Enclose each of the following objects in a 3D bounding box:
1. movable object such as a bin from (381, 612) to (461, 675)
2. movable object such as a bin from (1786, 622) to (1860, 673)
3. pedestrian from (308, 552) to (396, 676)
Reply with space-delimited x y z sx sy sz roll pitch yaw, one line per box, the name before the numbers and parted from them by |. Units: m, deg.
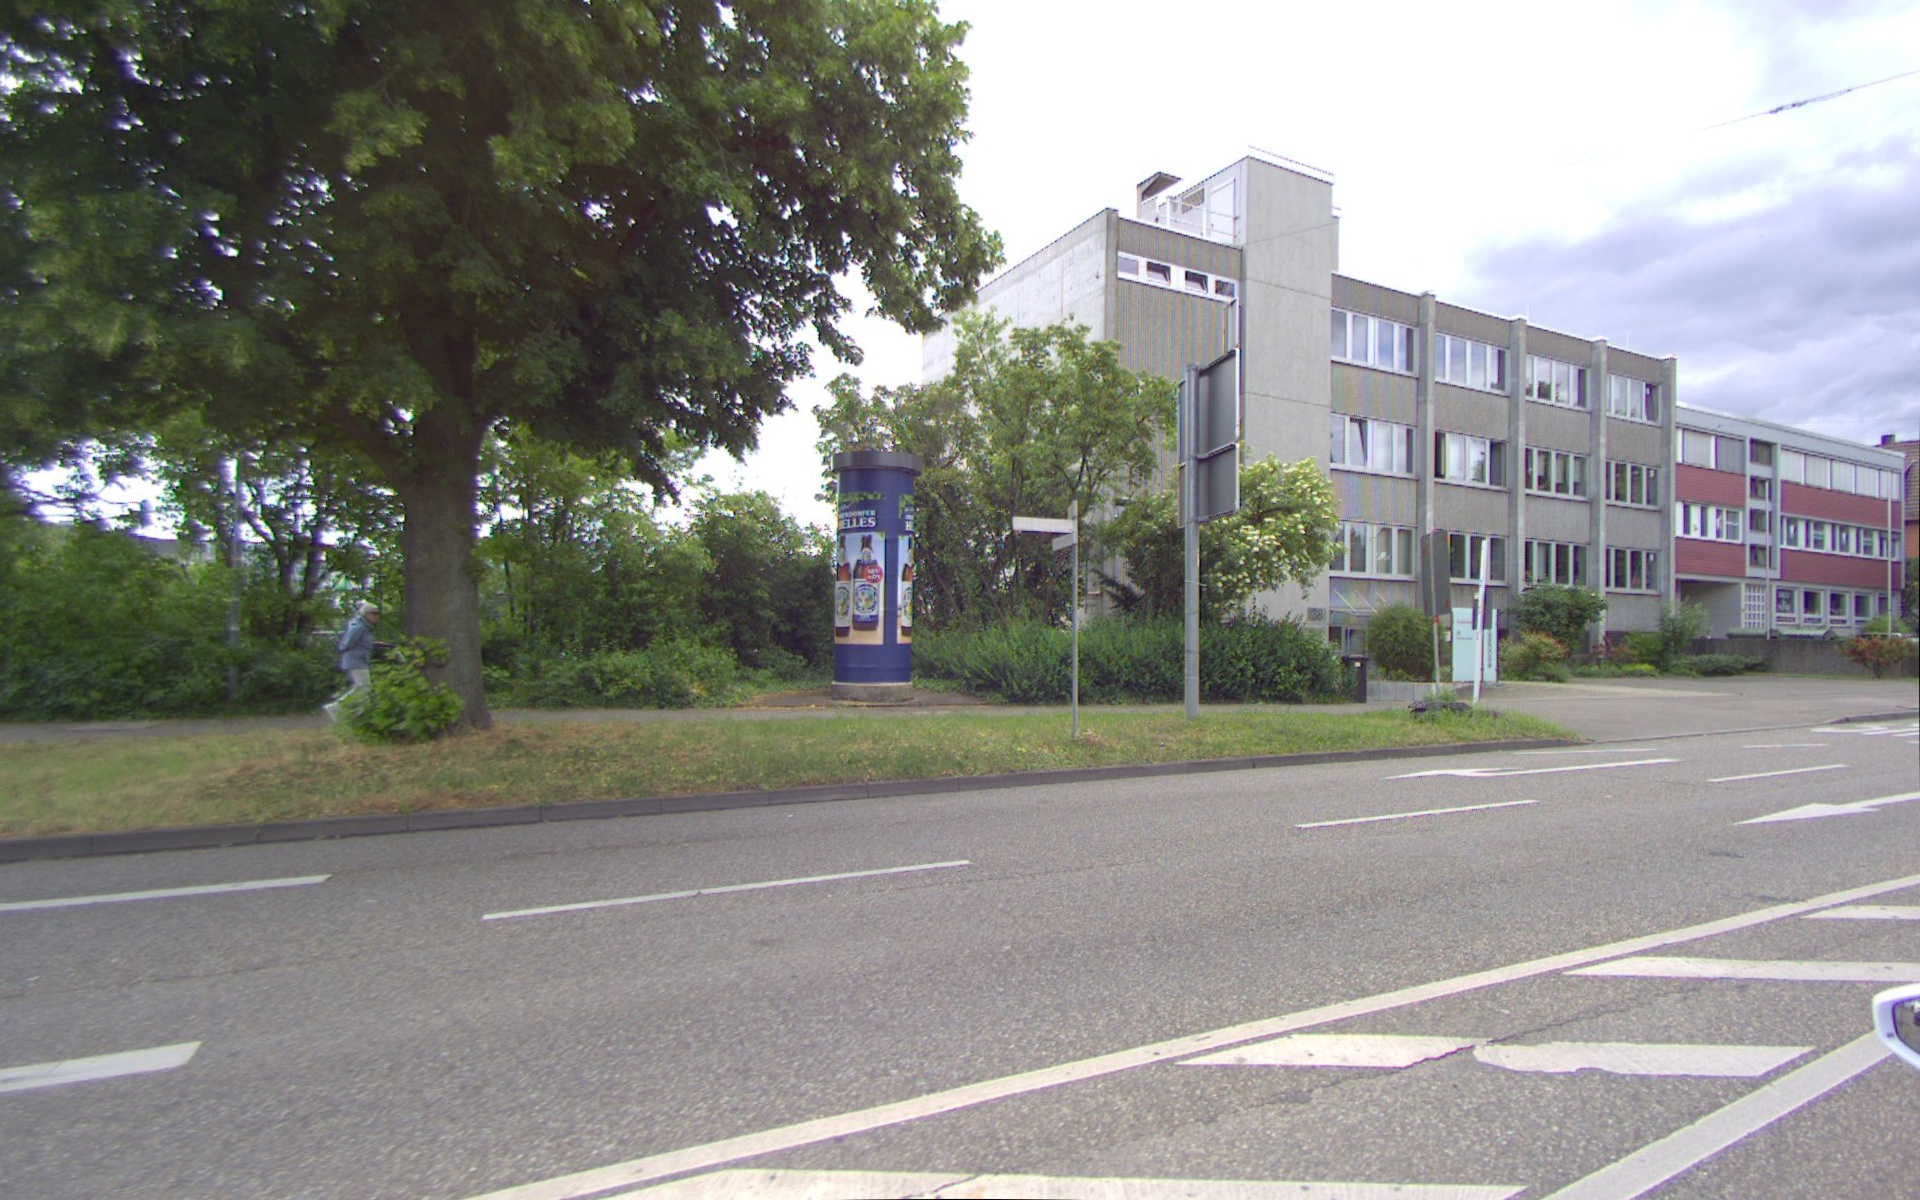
movable object such as a bin | -7.176 0.570 13.363 0.887 0.808 0.652 2 -1 -32
movable object such as a bin | 36.192 1.966 42.149 1.524 2.040 1.985 1 -1 -29
pedestrian | -7.829 0.188 12.961 0.913 1.542 0.652 2 -1 -32
